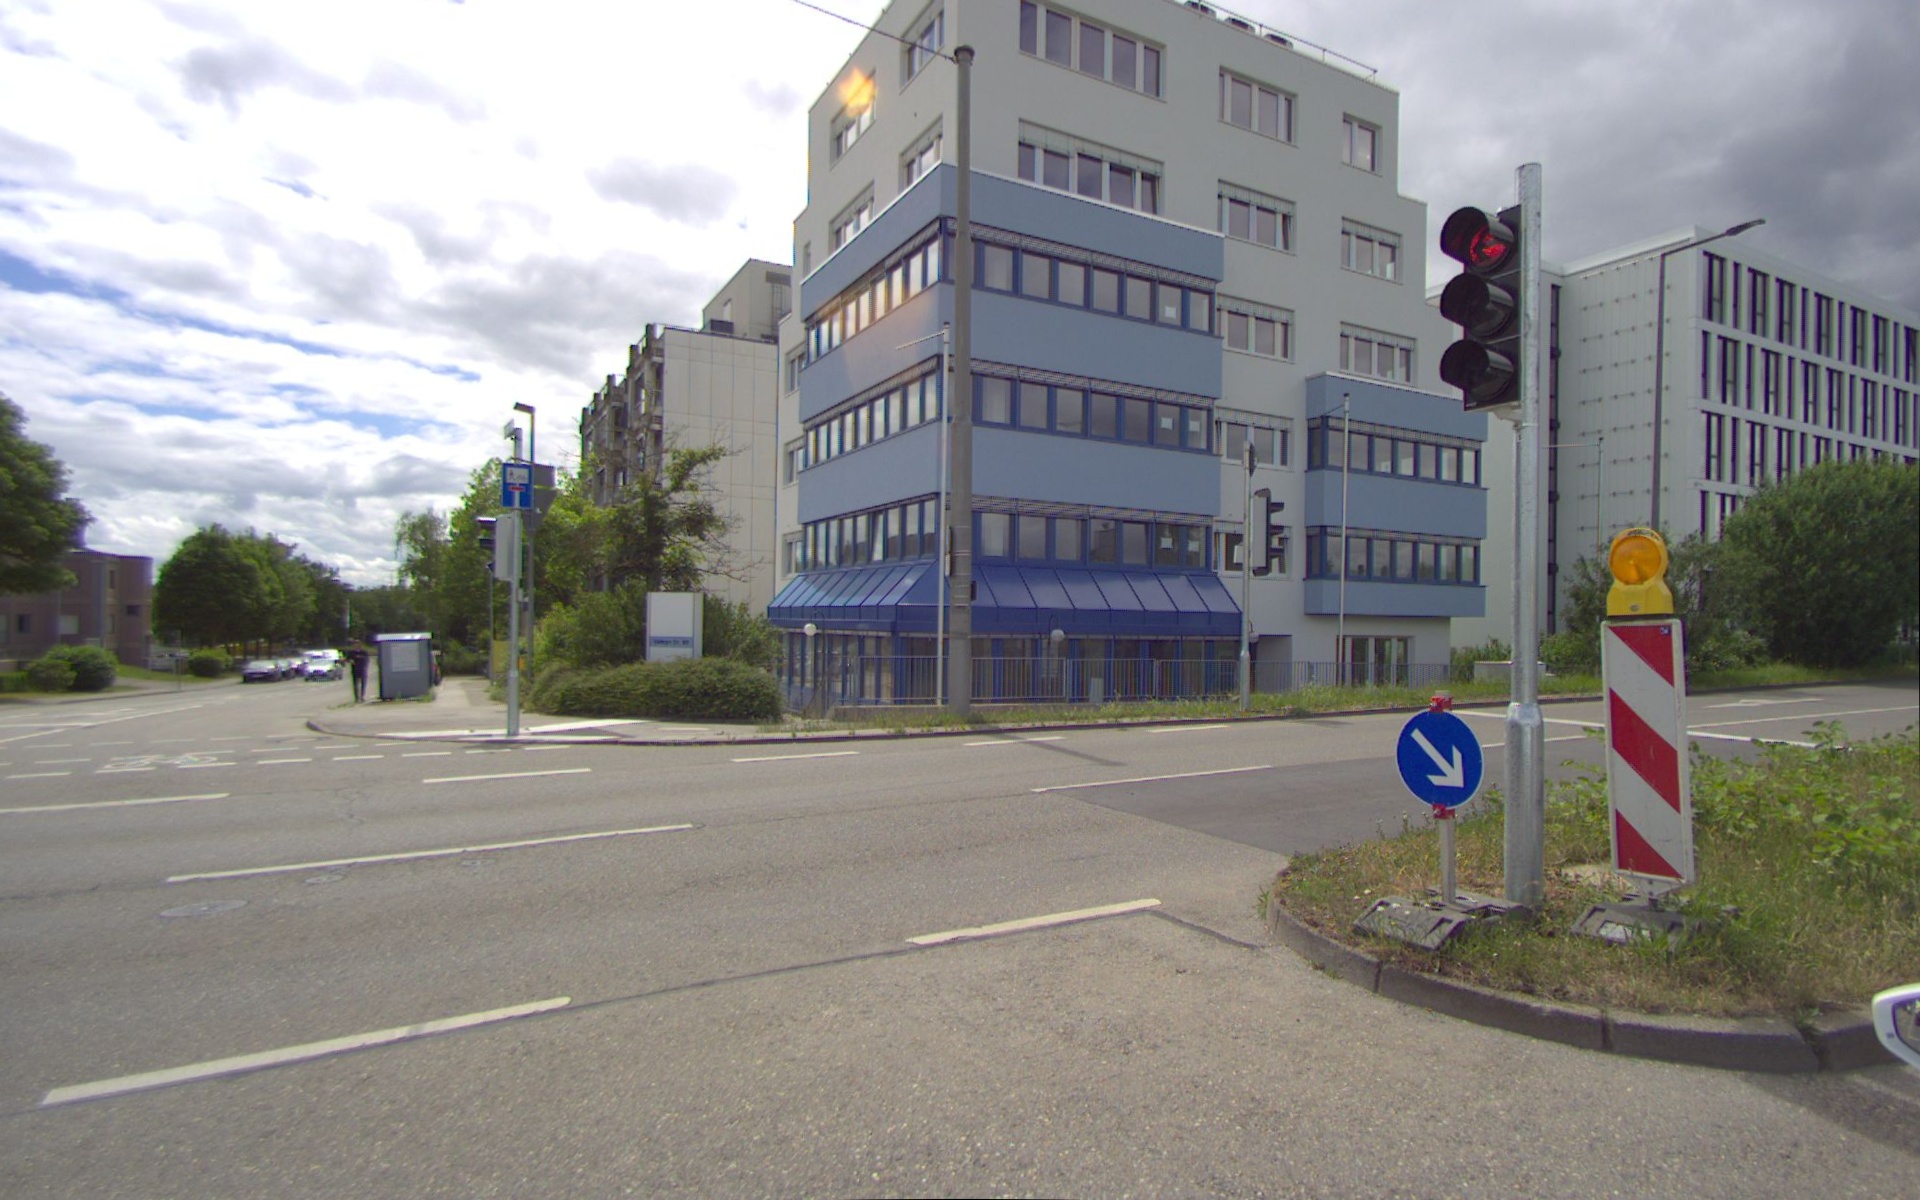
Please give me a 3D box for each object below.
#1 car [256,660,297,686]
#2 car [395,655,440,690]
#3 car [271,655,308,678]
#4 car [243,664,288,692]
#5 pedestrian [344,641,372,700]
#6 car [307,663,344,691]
[{"bbox_3d":[-47.892,5.085,70.471,1.976,1.528,3.970,1,-1,-29],"label":"car"},{"bbox_3d":[-28.469,3.814,52.811,1.974,1.714,3.631,1,-4,-27],"label":"car"},{"bbox_3d":[-51.474,5.092,77.152,1.976,1.528,3.970,1,-1,-29],"label":"car"},{"bbox_3d":[-45.349,5.078,65.656,1.976,1.528,3.970,1,-1,-29],"label":"car"},{"bbox_3d":[-17.334,2.036,28.934,0.613,1.666,0.745,1,-4,-28],"label":"pedestrian"},{"bbox_3d":[-42.408,5.119,67.181,1.977,1.528,3.967,1,-1,-31],"label":"car"}]
